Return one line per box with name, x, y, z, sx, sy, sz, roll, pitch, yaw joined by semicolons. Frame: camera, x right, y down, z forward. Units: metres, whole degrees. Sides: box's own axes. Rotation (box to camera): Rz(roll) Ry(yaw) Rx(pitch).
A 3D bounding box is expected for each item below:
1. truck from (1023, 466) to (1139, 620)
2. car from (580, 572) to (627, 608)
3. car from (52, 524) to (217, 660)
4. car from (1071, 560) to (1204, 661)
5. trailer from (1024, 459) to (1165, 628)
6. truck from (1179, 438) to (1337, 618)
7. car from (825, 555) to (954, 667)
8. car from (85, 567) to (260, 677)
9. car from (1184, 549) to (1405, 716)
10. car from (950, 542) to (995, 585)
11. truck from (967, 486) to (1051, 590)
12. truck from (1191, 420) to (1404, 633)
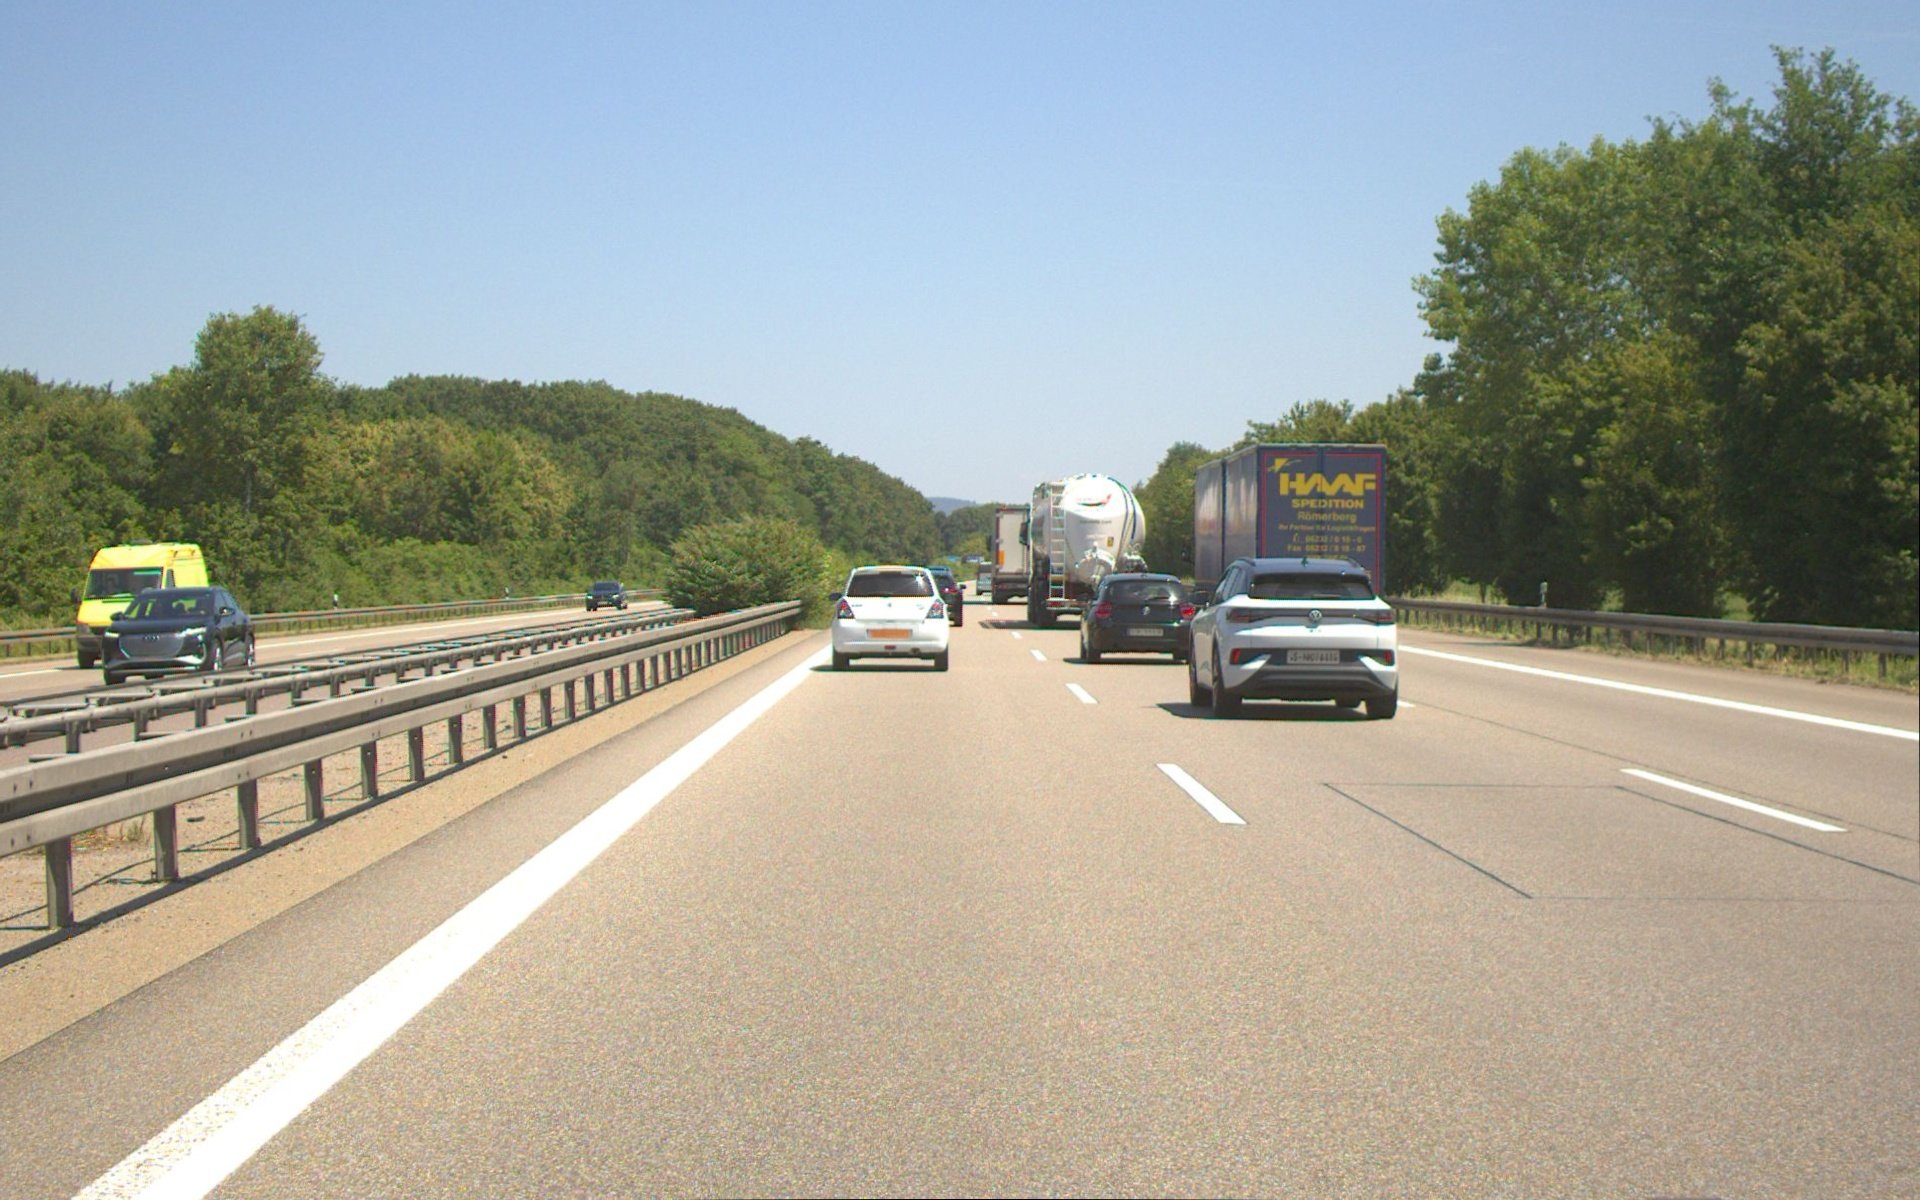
truck;3.299;-1.568;95.346;2.912;4.065;7.195;1;1;0
car;-17.942;-0.518;173.311;1.924;1.711;4.288;-1;1;0
car;-17.964;-0.214;75.124;2.165;2.770;5.800;-2;1;-1
car;2.807;0.145;55.058;1.850;1.518;3.957;1;1;-1
trailer;3.382;-1.451;89.656;2.911;4.055;12.419;1;1;-1
truck;7.156;-1.720;83.732;3.109;4.124;8.056;1;1;0
car;-1.039;0.129;50.417;1.799;1.546;3.610;1;1;-1
car;-13.191;0.338;57.853;1.868;1.684;4.627;-2;1;-1
car;3.410;0.288;35.813;1.802;1.597;4.381;1;1;-1
car;0.700;-2.072;193.048;2.475;2.346;5.181;1;1;0
truck;2.046;-2.629;147.195;3.394;4.199;12.083;1;1;0
truck;7.143;-1.558;75.204;3.109;4.124;15.511;1;1;0
